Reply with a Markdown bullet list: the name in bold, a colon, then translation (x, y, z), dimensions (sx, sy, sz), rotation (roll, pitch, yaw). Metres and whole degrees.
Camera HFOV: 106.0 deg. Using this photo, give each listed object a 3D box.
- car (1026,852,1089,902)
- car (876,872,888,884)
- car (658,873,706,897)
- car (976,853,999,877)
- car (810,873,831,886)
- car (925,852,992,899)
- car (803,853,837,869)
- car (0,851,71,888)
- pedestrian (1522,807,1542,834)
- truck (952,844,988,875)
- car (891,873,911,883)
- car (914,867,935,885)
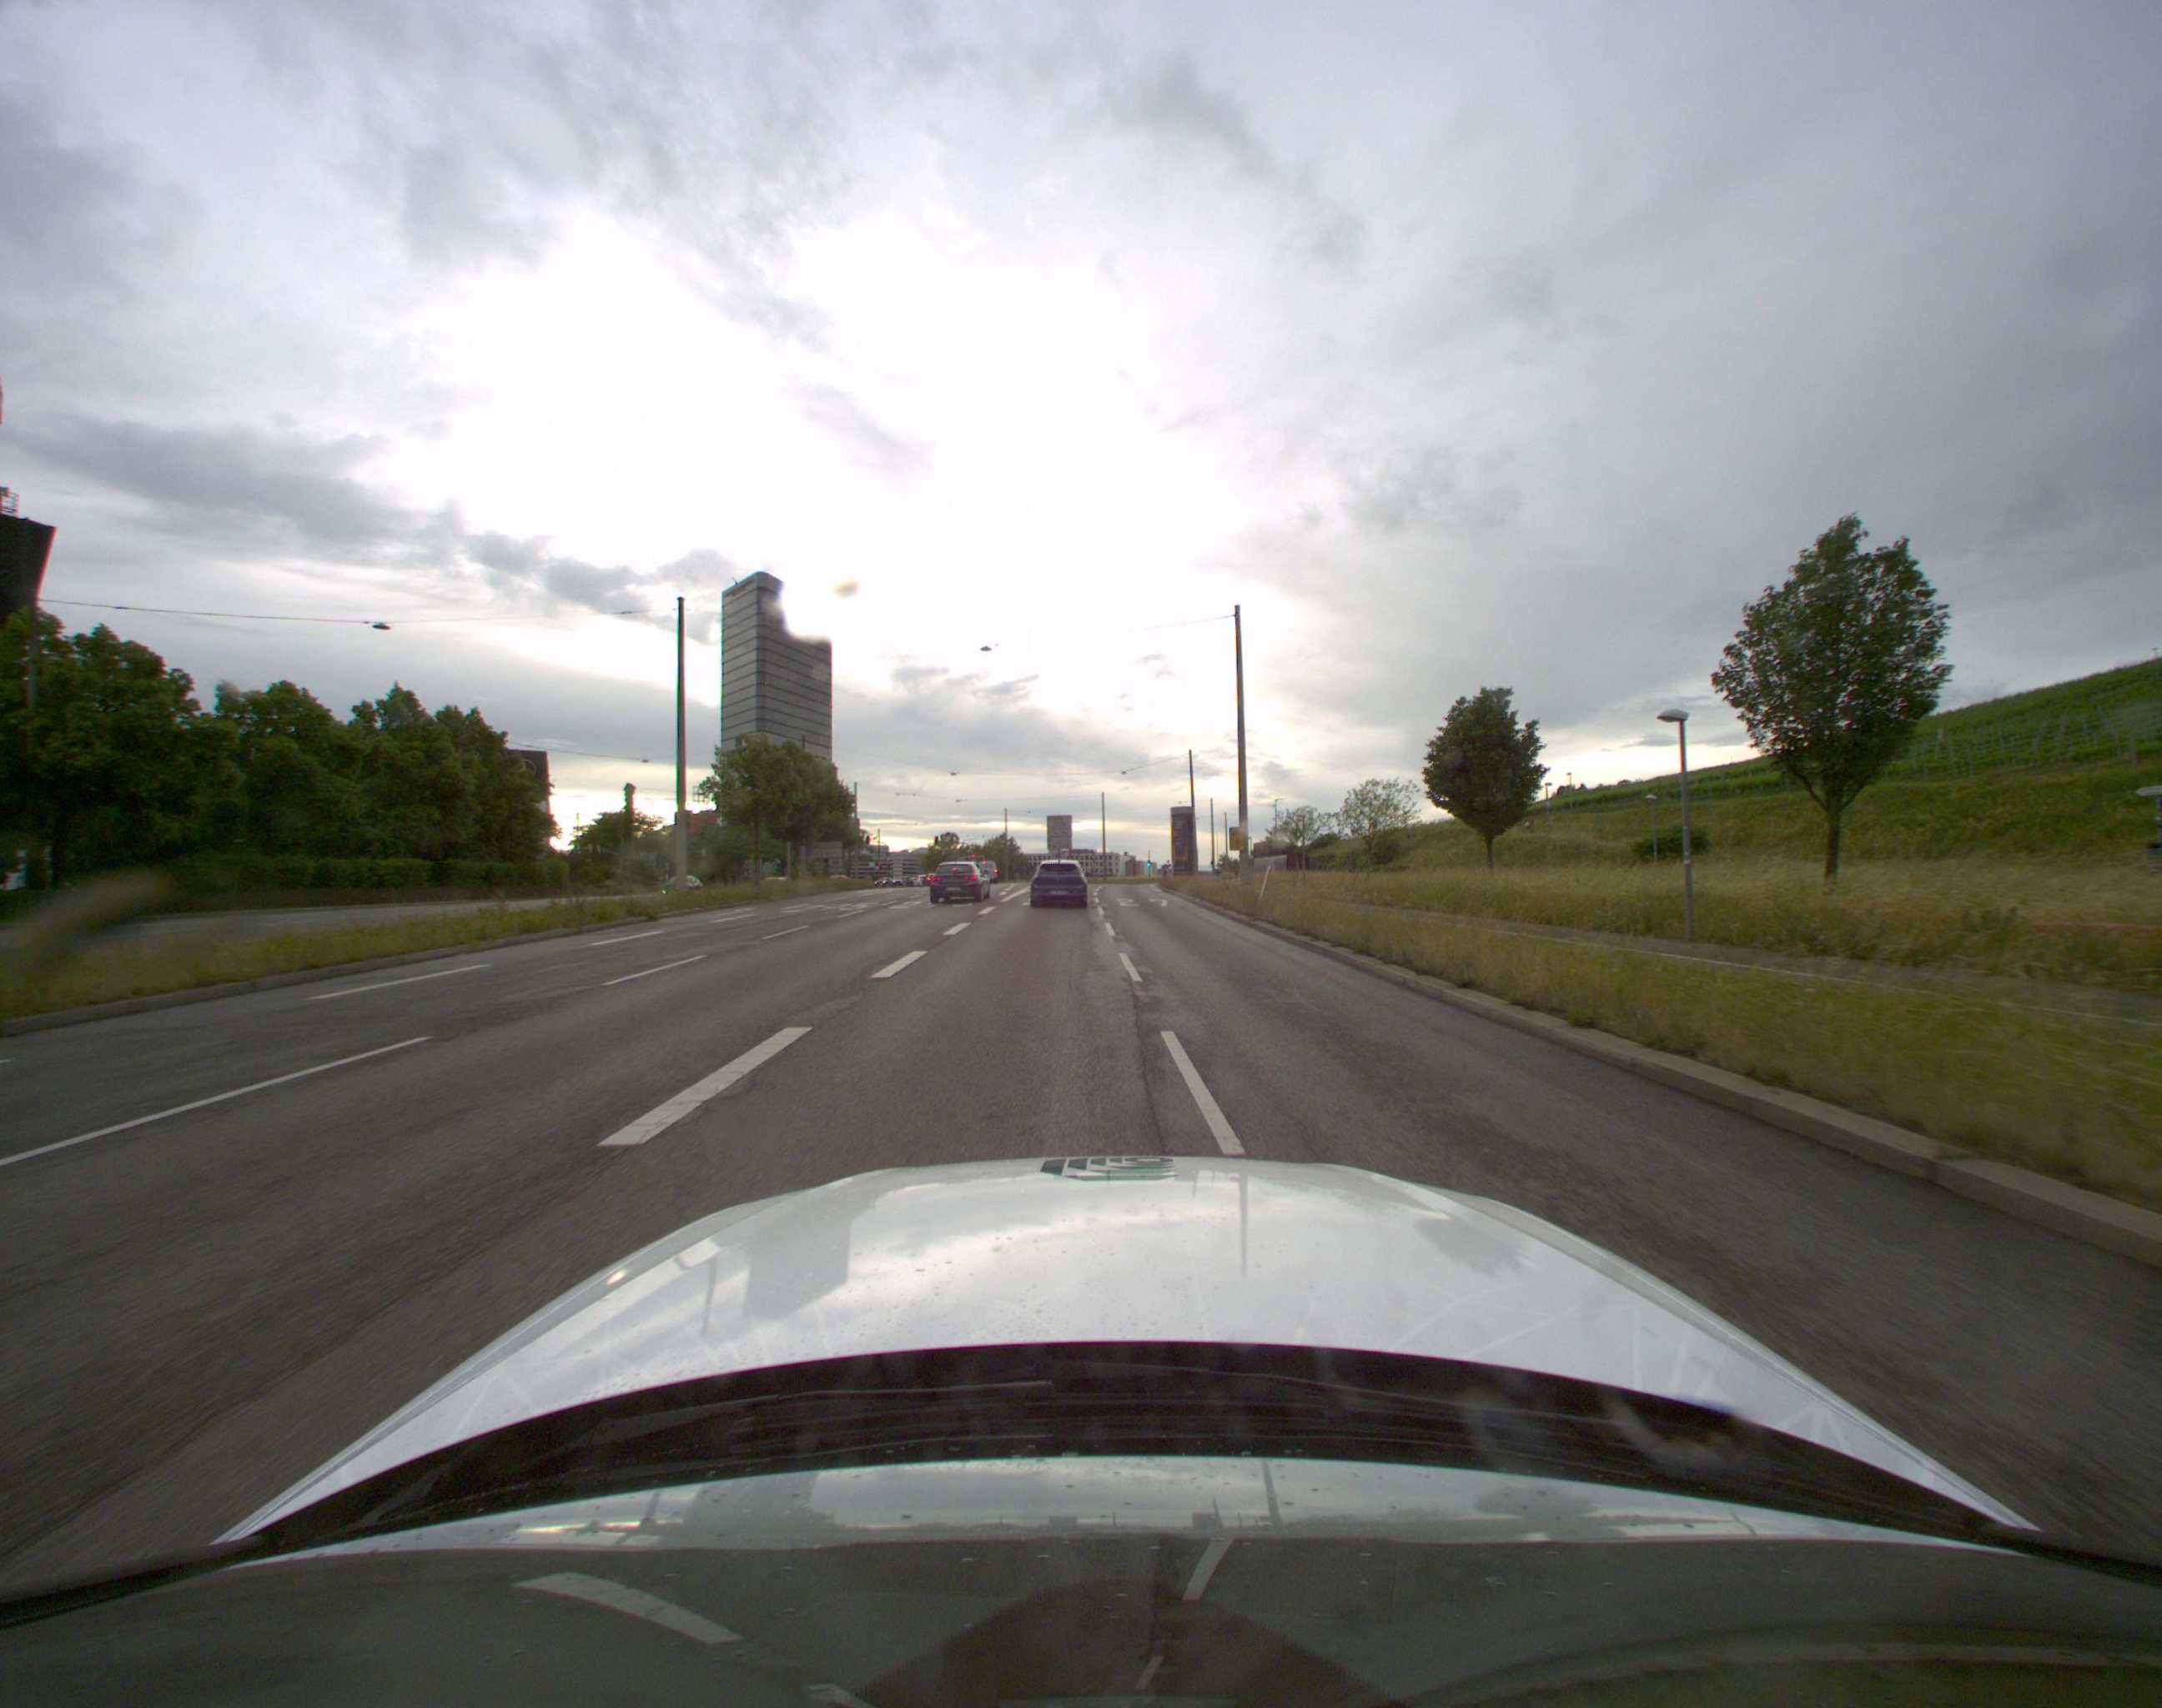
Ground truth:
- **car**: translation (-0.681, 0.671, 26.234), dimensions (1.832, 1.393, 4.001), rotation (1, 1, 0)
- **car**: translation (-30.981, 3.712, 126.806), dimensions (1.766, 1.838, 3.739), rotation (0, -1, -14)
- **car**: translation (-26.911, 2.067, 55.003), dimensions (1.591, 1.360, 3.671), rotation (1, 1, -4)
- **car**: translation (-8.204, 0.989, 71.121), dimensions (1.903, 1.973, 5.077), rotation (-2, -2, -8)
- **car**: translation (-37.269, 3.636, 116.643), dimensions (1.589, 1.816, 3.540), rotation (0, 0, 5)
- **car**: translation (-4.320, 0.717, 29.255), dimensions (1.864, 1.461, 3.974), rotation (0, 1, -1)
- **car**: translation (-28.547, 0.731, 89.128), dimensions (1.884, 1.658, 4.611), rotation (-1, -1, 4)
- **car**: translation (-63.012, 0.874, 47.089), dimensions (2.390, 2.131, 6.953), rotation (1, -2, -19)
- **pedestrian**: translation (34.868, -2.577, 62.946), dimensions (0.784, 2.013, 1.044), rotation (-3, 1, -33)
- **truck**: translation (-12.002, 0.638, 87.464), dimensions (2.674, 3.220, 6.508), rotation (1, -1, -18)
- **car**: translation (-27.617, 3.646, 125.295), dimensions (1.922, 1.484, 4.581), rotation (0, -1, 2)
- **car**: translation (-18.887, 2.639, 98.132), dimensions (1.999, 2.013, 3.976), rotation (-3, 1, -18)
